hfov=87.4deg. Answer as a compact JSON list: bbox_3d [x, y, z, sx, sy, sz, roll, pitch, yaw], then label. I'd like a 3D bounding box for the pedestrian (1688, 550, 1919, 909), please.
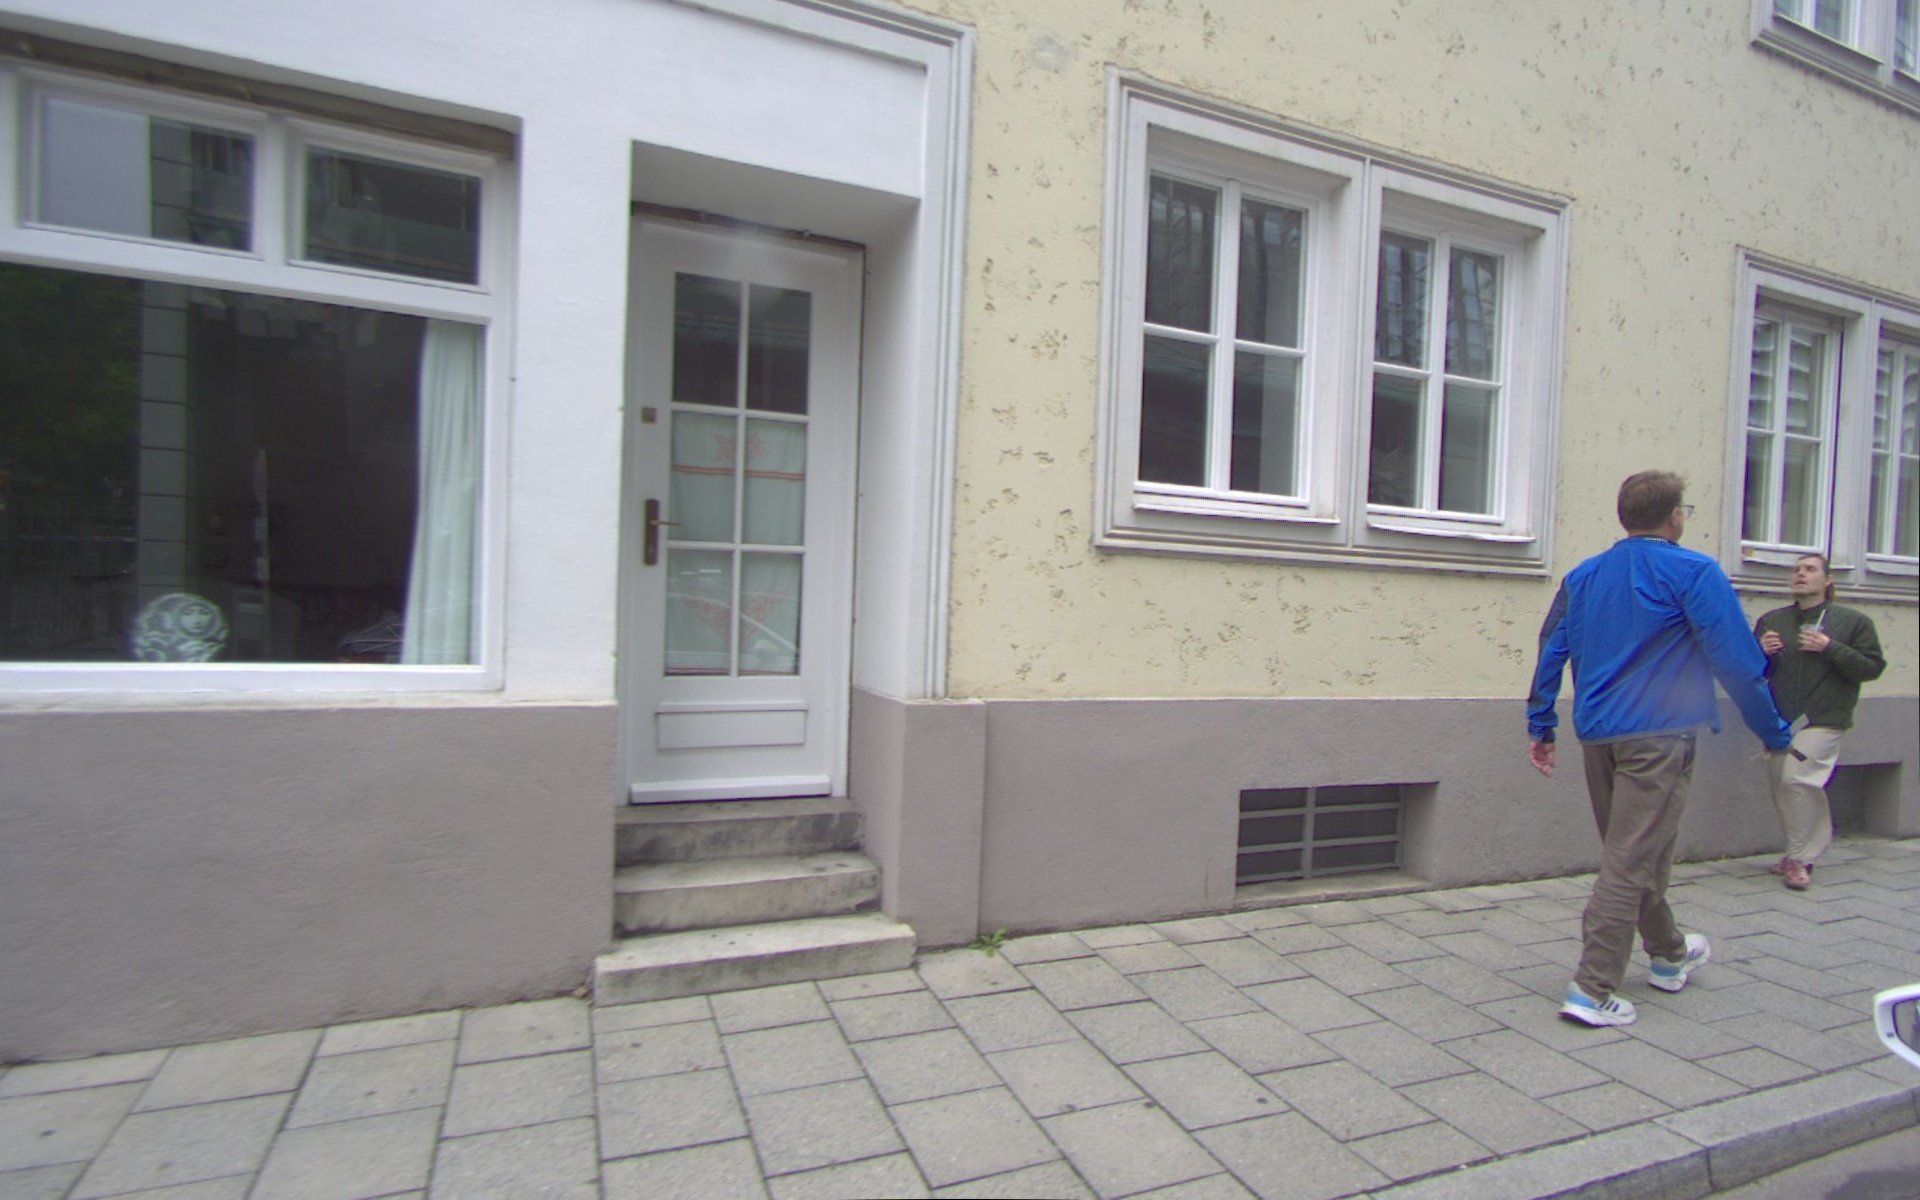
[{"bbox_3d":[4.360,0.613,5.172,0.714,1.699,0.645,2,2,-24],"label":"pedestrian"}]

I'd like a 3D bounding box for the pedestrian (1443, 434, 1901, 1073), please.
[{"bbox_3d":[2.436,0.457,3.491,1.061,1.879,0.755,2,2,-23],"label":"pedestrian"}]
